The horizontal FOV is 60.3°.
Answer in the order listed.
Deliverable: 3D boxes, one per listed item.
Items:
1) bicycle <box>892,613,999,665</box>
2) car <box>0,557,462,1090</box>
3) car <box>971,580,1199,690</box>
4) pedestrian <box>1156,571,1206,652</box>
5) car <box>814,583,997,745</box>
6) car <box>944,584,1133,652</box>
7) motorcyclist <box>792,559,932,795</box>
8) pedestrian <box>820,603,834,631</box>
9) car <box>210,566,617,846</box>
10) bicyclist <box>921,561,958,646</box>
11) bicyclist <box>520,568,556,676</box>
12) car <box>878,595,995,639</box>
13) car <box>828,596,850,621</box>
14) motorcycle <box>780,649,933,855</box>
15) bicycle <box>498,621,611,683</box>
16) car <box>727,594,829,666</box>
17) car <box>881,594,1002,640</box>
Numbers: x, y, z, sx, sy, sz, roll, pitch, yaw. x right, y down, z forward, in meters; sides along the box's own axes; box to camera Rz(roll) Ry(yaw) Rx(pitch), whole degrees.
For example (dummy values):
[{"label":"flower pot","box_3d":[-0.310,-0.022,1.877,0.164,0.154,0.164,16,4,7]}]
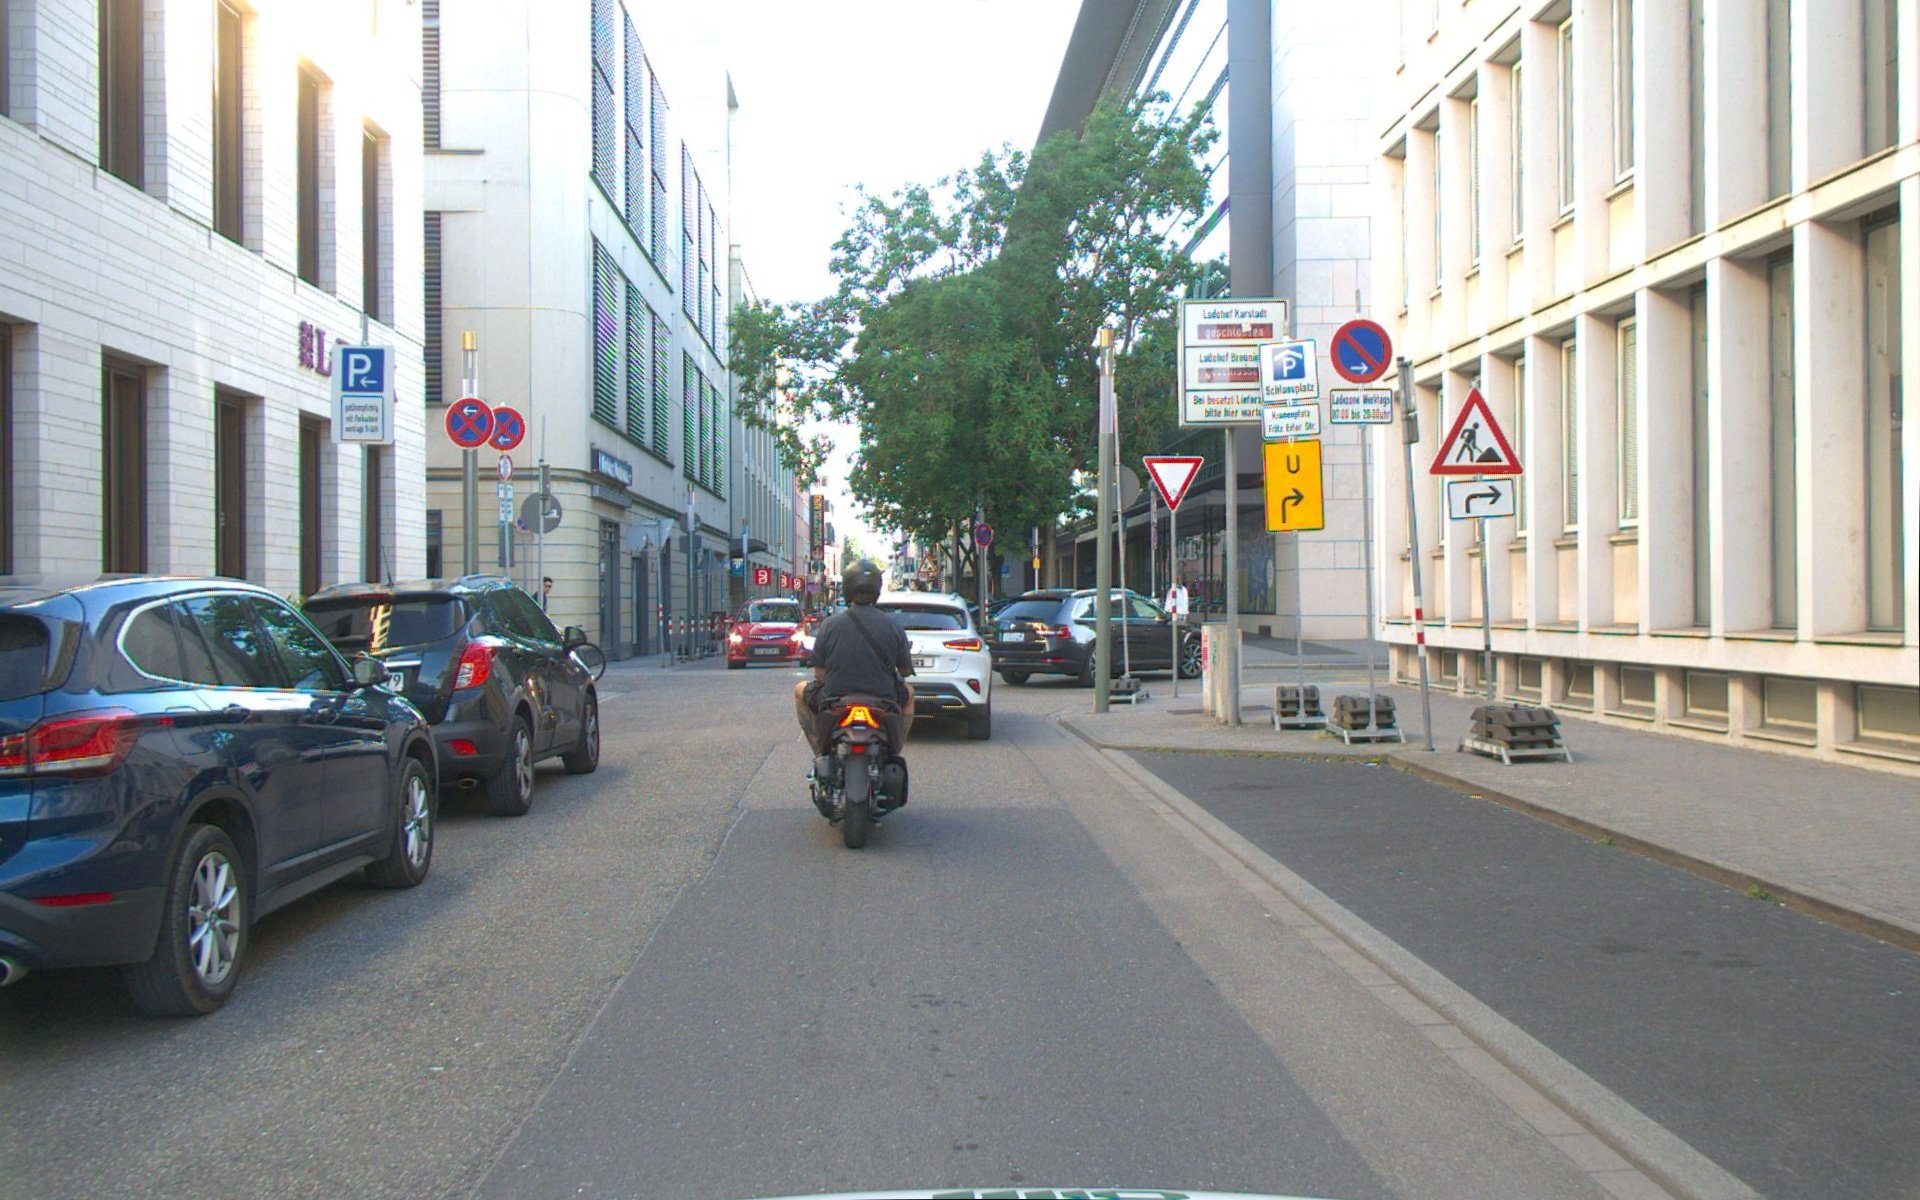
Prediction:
[{"label":"bicycle","box_3d":[-0.282,0.767,32.734,2.071,1.012,0.515,0,-1,-20]},{"label":"car","box_3d":[-3.550,0.699,7.116,1.705,1.622,4.151,-3,1,-3]},{"label":"car","box_3d":[2.103,0.487,26.652,1.790,1.568,4.352,0,2,33]},{"label":"pedestrian","box_3d":[4.886,0.261,36.662,0.887,1.735,0.834,-3,-1,-1]},{"label":"car","box_3d":[-0.656,0.607,18.404,1.786,1.568,4.261,-1,0,-3]},{"label":"car","box_3d":[2.123,0.495,45.635,4.908,1.477,1.998,-4,0,-5]},{"label":"motorcyclist","box_3d":[-0.608,0.477,10.399,0.849,1.452,0.455,0,-1,-2]},{"label":"pedestrian","box_3d":[-7.656,1.004,95.235,0.717,1.601,0.636,0,-1,-2]},{"label":"car","box_3d":[-3.937,0.656,12.727,1.786,1.707,4.262,-3,1,-2]},{"label":"bicyclist","box_3d":[-0.406,0.072,32.700,0.620,1.654,0.495,1,-1,-21]},{"label":"bicyclist","box_3d":[-6.922,0.362,27.148,0.540,1.762,0.500,0,-1,-13]},{"label":"car","box_3d":[-1.039,0.750,72.261,4.908,1.525,1.998,-4,0,-5]},{"label":"car","box_3d":[-11.533,0.784,157.476,1.955,2.370,5.015,1,0,-5]},{"label":"motorcycle","box_3d":[-0.606,0.881,10.238,0.855,1.129,1.839,0,-1,-2]},{"label":"bicycle","box_3d":[-6.662,0.850,27.209,1.784,0.991,0.509,0,-1,-14]},{"label":"car","box_3d":[-3.945,0.688,36.434,1.785,1.491,4.262,-1,-2,-1]},{"label":"car","box_3d":[-0.813,0.703,69.756,4.908,1.525,1.998,-4,0,-5]}]
